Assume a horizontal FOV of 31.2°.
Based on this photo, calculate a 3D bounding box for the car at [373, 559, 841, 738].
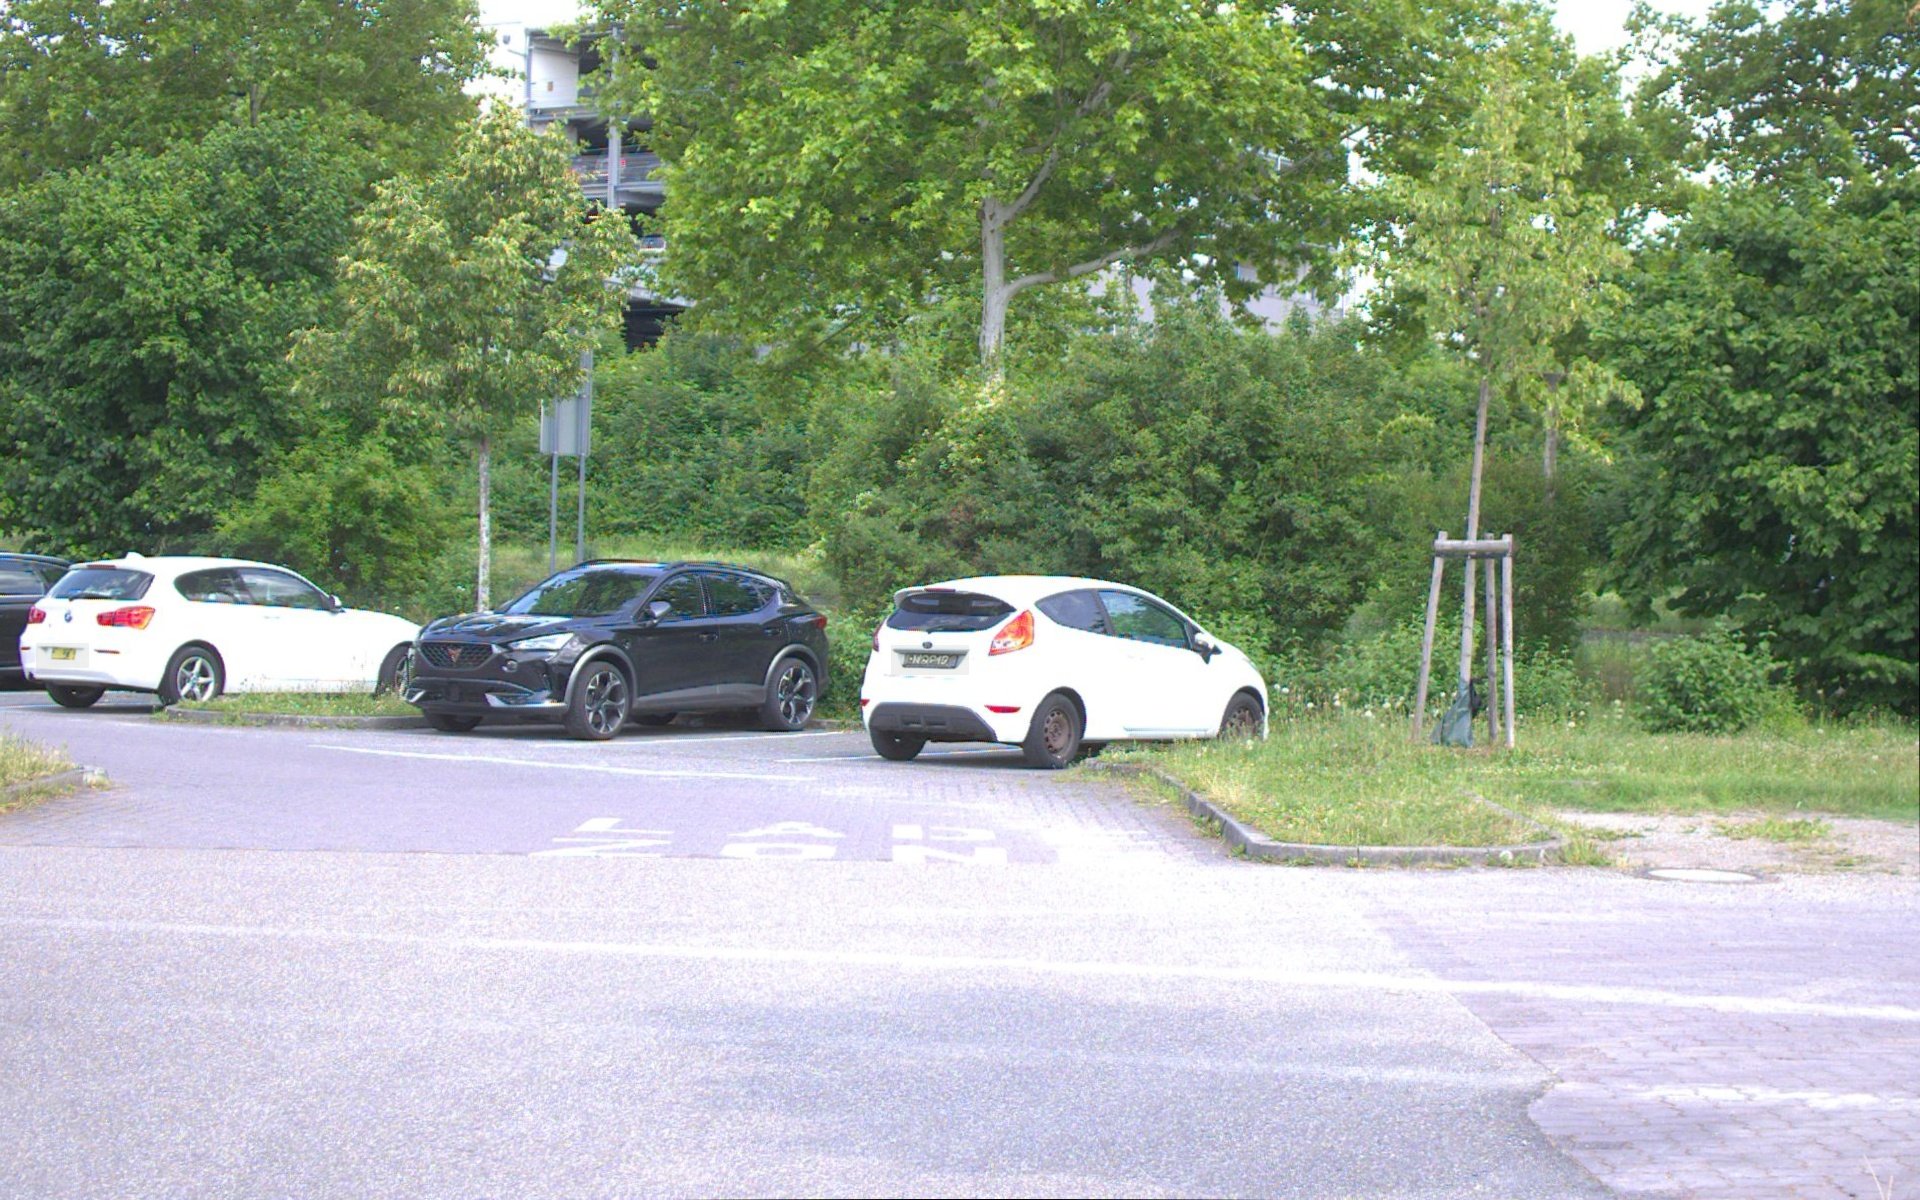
[{"bbox_3d":[-3.000,0.382,30.078,1.731,1.405,4.234,2,1,34],"label":"car"}]

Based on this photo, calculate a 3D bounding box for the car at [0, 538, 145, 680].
[{"bbox_3d":[-10.827,0.074,35.338,1.837,1.446,4.715,2,1,35],"label":"car"}]

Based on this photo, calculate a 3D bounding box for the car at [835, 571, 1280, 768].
[{"bbox_3d":[0.820,0.507,27.074,1.668,1.407,3.549,2,1,39],"label":"car"}]

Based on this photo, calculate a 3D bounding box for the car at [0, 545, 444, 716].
[{"bbox_3d":[-6.950,0.259,32.473,1.688,1.504,4.073,1,1,37],"label":"car"}]

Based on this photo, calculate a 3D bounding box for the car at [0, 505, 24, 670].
[{"bbox_3d":[-12.732,-0.163,36.914,1.988,1.836,5.138,2,1,33],"label":"car"}]
